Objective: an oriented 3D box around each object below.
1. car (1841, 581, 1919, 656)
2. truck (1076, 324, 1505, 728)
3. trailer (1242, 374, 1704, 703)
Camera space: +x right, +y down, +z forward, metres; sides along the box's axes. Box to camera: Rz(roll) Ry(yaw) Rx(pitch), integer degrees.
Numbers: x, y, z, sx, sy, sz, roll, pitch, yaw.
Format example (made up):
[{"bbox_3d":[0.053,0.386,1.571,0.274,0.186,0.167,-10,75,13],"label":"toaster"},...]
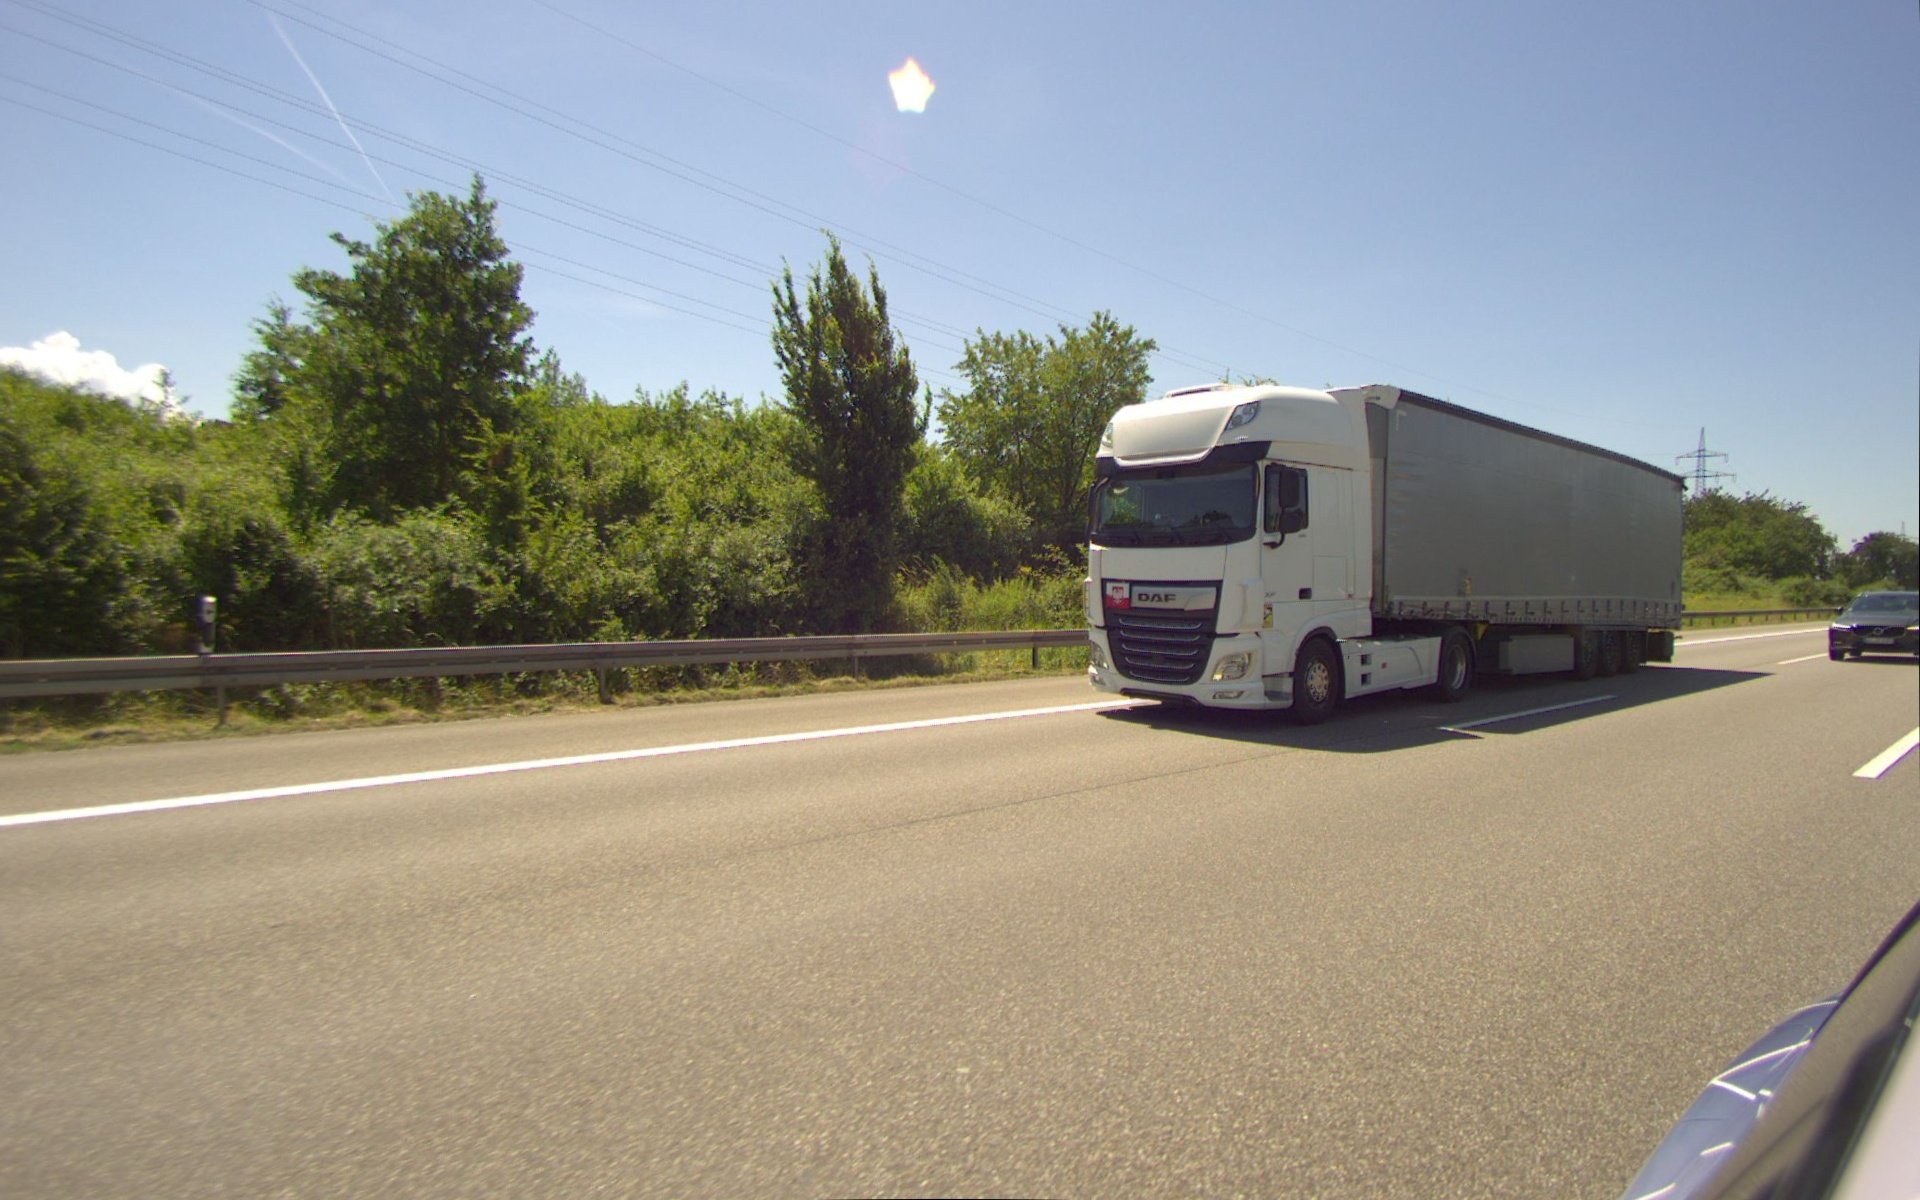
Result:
[{"bbox_3d":[22.427,0.401,23.940,3.934,1.643,1.877,0,1,-41],"label":"car"},{"bbox_3d":[4.597,-0.802,13.469,6.017,4.171,2.741,0,1,-41],"label":"truck"},{"bbox_3d":[9.896,-0.832,18.095,12.893,4.158,2.741,0,1,-41],"label":"trailer"}]
